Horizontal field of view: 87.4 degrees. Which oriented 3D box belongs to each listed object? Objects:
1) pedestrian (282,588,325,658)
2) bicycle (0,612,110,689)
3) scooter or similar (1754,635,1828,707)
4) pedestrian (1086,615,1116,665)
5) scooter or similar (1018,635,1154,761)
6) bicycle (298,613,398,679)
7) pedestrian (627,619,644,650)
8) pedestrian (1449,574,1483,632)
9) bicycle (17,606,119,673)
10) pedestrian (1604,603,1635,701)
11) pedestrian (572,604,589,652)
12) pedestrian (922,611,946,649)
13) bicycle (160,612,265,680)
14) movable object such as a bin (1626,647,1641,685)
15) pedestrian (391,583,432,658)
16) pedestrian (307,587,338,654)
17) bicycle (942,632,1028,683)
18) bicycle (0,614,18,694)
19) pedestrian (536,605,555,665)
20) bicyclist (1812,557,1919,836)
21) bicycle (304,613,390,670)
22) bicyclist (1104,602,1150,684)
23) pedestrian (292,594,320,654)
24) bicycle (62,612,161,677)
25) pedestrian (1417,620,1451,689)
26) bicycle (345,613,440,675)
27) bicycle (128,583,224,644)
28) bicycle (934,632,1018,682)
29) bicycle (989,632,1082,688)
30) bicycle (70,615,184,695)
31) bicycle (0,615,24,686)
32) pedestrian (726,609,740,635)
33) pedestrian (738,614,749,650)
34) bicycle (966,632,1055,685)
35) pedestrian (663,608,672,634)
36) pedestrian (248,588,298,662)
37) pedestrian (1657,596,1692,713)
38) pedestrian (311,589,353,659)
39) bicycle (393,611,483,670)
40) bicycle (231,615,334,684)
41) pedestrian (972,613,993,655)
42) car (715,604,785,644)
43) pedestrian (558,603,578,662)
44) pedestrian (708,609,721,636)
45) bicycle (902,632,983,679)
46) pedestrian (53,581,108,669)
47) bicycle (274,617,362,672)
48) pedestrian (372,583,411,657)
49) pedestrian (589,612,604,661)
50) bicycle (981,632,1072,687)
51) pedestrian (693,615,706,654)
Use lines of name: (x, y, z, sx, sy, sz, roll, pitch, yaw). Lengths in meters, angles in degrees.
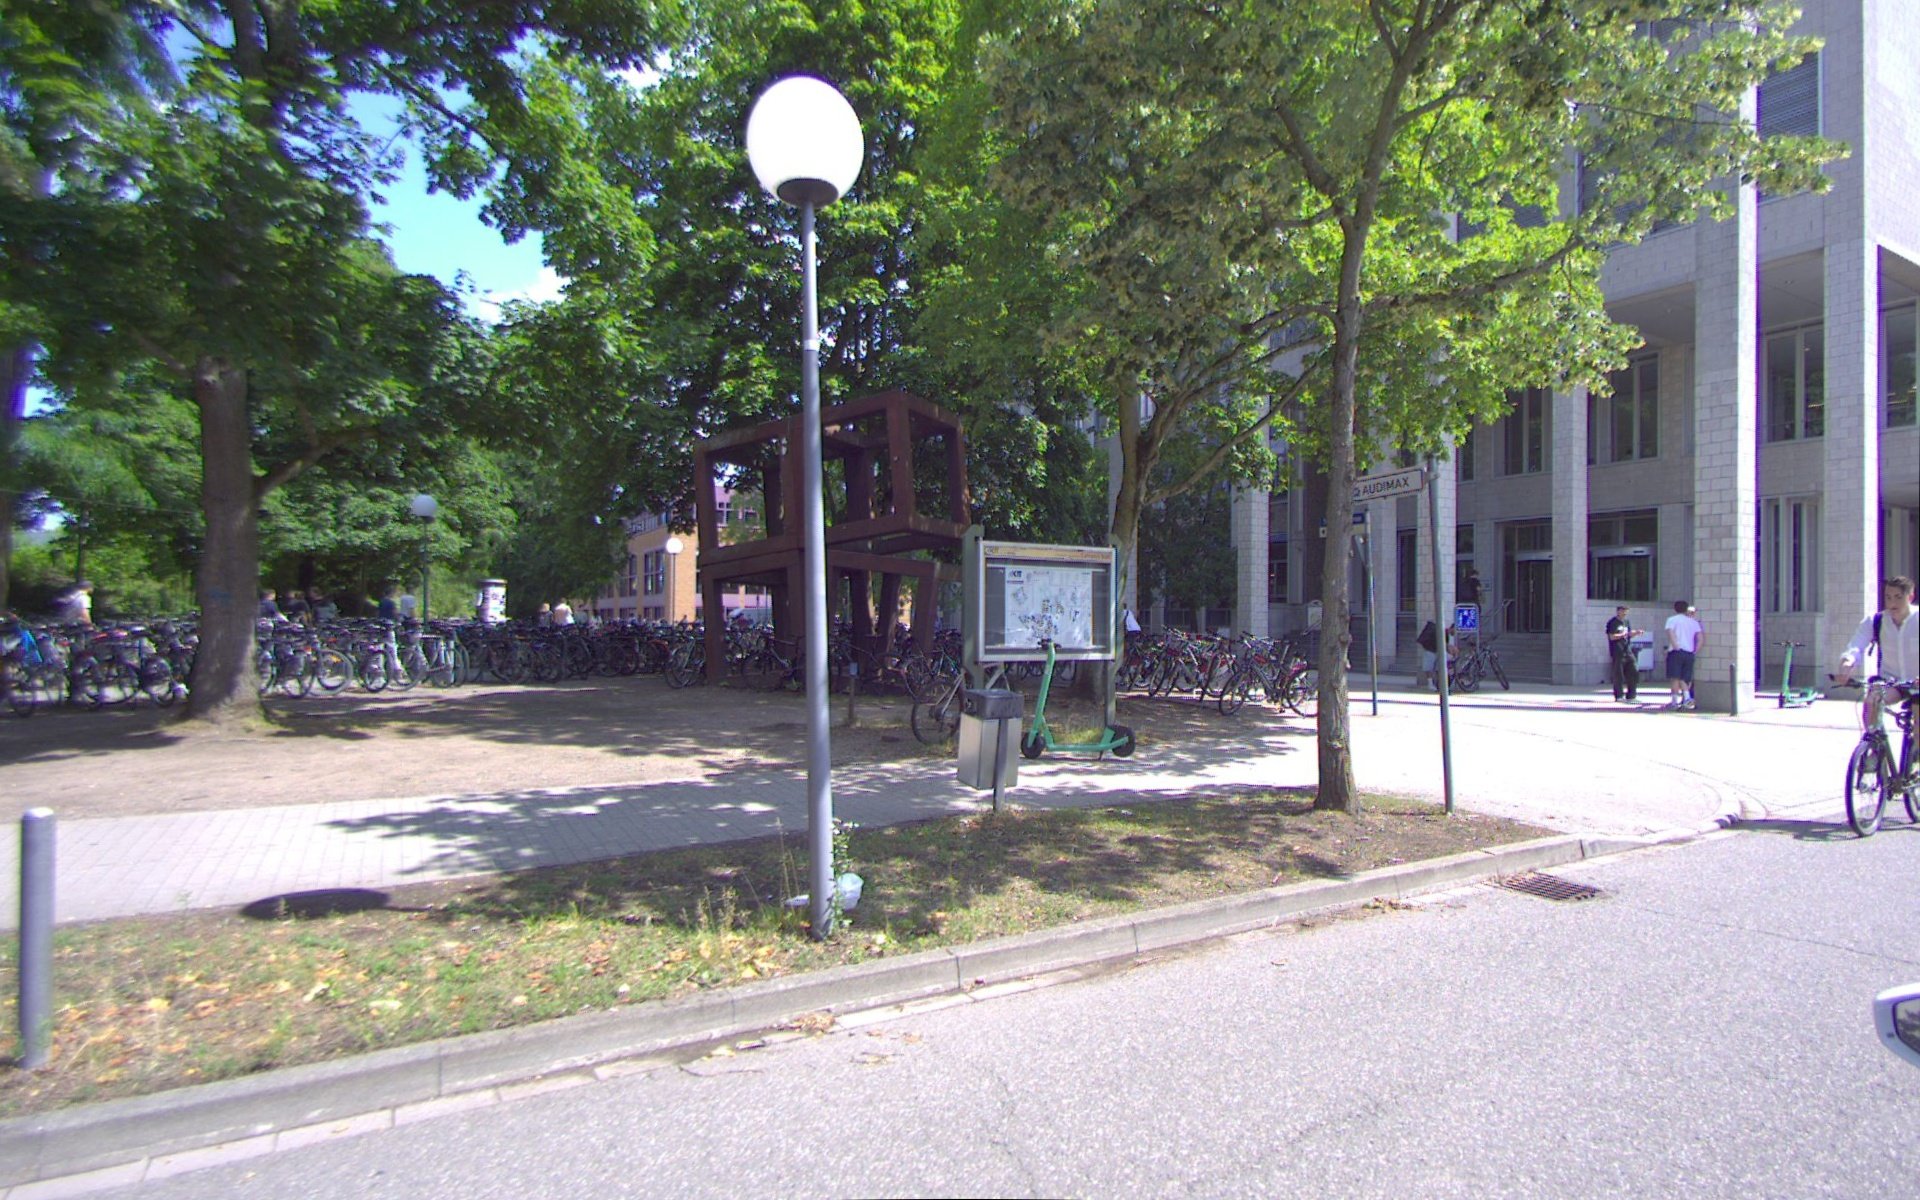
pedestrian: (-16.244, 0.561, 24.856, 0.545, 1.692, 0.703, 1, 0, 25)
bicycle: (-14.316, 0.768, 15.817, 2.022, 1.147, 0.639, 0, 0, 25)
scooter or similar: (14.909, 1.255, 18.015, 1.529, 1.240, 0.453, 1, -1, -27)
pedestrian: (4.665, 1.321, 33.285, 0.590, 1.614, 0.824, 1, -1, -28)
scooter or similar: (1.244, 0.956, 9.960, 1.301, 1.191, 0.340, 1, 0, 5)
bicycle: (-12.019, 0.884, 19.700, 2.021, 1.147, 0.639, 3, 1, 25)
pedestrian: (-17.152, 1.826, 53.065, 0.751, 1.617, 0.391, 1, -1, -31)
pedestrian: (14.836, 0.096, 29.454, 0.687, 1.683, 0.629, 1, -1, -35)
bicycle: (-16.059, 0.682, 18.074, 2.021, 1.147, 0.639, 0, 0, 25)
pedestrian: (12.264, 0.951, 18.690, 0.434, 1.799, 0.450, 0, -1, 30)
pedestrian: (-16.077, 1.181, 42.554, 0.566, 2.040, 0.532, 1, 0, -15)
pedestrian: (-1.073, 1.238, 41.900, 0.714, 1.561, 0.696, 1, -1, -40)
bicycle: (-13.411, 0.797, 18.005, 2.021, 1.147, 0.639, 0, 0, 25)
movable object such as a bin: (16.680, 1.627, 24.870, 0.444, 0.906, 0.167, 1, -1, -36)
pedestrian: (-14.625, 0.540, 26.778, 0.635, 1.960, 0.696, 1, 0, 25)
pedestrian: (-16.698, 0.537, 26.301, 0.405, 1.736, 0.544, 1, 0, 29)
bicycle: (0.575, 1.287, 22.734, 1.950, 1.101, 0.549, 1, 1, -31)
bicycle: (-14.794, 0.780, 14.796, 2.022, 1.147, 0.639, 0, 0, 25)
pedestrian: (-14.330, 1.197, 34.742, 0.511, 2.040, 0.532, 1, 0, -15)
bicyclist: (7.311, 0.725, 7.838, 1.008, 2.040, 0.707, 1, -2, -33)
bicycle: (-13.804, 0.914, 22.606, 2.021, 1.147, 0.639, 3, 1, 25)
bicyclist: (4.271, 1.086, 25.707, 0.863, 2.040, 0.846, 1, -1, -19)
pedestrian: (-17.281, 0.626, 26.537, 0.402, 1.547, 0.486, 1, 0, 29)
bicycle: (-15.954, 0.820, 18.887, 2.021, 1.147, 0.639, 0, 0, 25)
pedestrian: (9.897, 1.136, 20.973, 0.440, 1.402, 0.462, -3, 1, -40)
bicycle: (-11.924, 0.904, 21.104, 2.021, 1.147, 0.674, 3, 2, 25)
bicycle: (-15.311, 0.248, 19.606, 2.021, 1.147, 0.639, 1, 0, 25)
bicycle: (0.378, 1.315, 23.526, 1.950, 1.101, 0.549, 1, 1, -31)
bicycle: (1.582, 1.237, 20.873, 1.950, 1.101, 0.549, 1, 1, -31)
bicycle: (-13.847, 0.886, 16.689, 2.021, 1.147, 0.639, 3, 1, 25)
bicycle: (-16.594, 0.823, 16.818, 2.021, 1.147, 0.639, 1, 0, 25)
pedestrian: (-14.064, 1.357, 62.135, 0.627, 1.627, 0.595, 1, -1, -41)
pedestrian: (-12.275, 1.807, 56.988, 0.457, 2.040, 0.611, 1, 0, 3)
bicycle: (1.111, 1.270, 21.971, 1.950, 1.101, 0.549, 1, 1, -31)
pedestrian: (-18.264, 1.331, 62.721, 0.489, 1.627, 0.585, 1, -1, -25)
pedestrian: (-16.023, 0.584, 23.431, 0.620, 1.692, 0.730, 1, 0, 25)
pedestrian: (12.289, 0.915, 17.286, 0.406, 1.967, 0.662, 1, 0, 31)
pedestrian: (-15.526, 0.582, 24.832, 0.545, 1.692, 0.693, 1, 0, 25)
bicycle: (-11.509, 0.872, 22.138, 2.021, 1.147, 0.639, 3, 1, 25)
bicycle: (-12.676, 0.903, 18.785, 2.021, 1.147, 0.639, 2, 1, 25)
pedestrian: (0.903, 1.362, 40.126, 0.632, 1.671, 0.597, 1, -1, -28)
car: (-15.270, 1.717, 73.013, 4.583, 2.813, 1.980, 1, -1, -36)
pedestrian: (-13.640, 1.125, 34.958, 0.583, 2.040, 0.532, 1, 0, -15)
pedestrian: (-14.889, 1.377, 60.812, 0.595, 1.627, 0.627, 1, -1, -31)
bicycle: (-0.423, 1.338, 24.624, 1.950, 1.101, 0.549, 1, 1, -31)
pedestrian: (-17.275, 0.488, 19.739, 0.567, 1.692, 0.630, 1, 0, 25)
bicycle: (-13.999, 0.948, 21.892, 2.021, 1.147, 0.639, 0, -1, 25)
pedestrian: (-15.341, 0.529, 27.098, 0.610, 1.960, 0.681, 1, 0, 25)
pedestrian: (-15.344, 1.548, 42.372, 0.511, 2.040, 0.532, 1, 0, -15)
bicycle: (1.432, 1.258, 21.454, 1.950, 1.101, 0.549, 1, 1, -31)
pedestrian: (-13.745, 1.842, 52.964, 0.644, 2.040, 0.444, 1, 0, -16)
